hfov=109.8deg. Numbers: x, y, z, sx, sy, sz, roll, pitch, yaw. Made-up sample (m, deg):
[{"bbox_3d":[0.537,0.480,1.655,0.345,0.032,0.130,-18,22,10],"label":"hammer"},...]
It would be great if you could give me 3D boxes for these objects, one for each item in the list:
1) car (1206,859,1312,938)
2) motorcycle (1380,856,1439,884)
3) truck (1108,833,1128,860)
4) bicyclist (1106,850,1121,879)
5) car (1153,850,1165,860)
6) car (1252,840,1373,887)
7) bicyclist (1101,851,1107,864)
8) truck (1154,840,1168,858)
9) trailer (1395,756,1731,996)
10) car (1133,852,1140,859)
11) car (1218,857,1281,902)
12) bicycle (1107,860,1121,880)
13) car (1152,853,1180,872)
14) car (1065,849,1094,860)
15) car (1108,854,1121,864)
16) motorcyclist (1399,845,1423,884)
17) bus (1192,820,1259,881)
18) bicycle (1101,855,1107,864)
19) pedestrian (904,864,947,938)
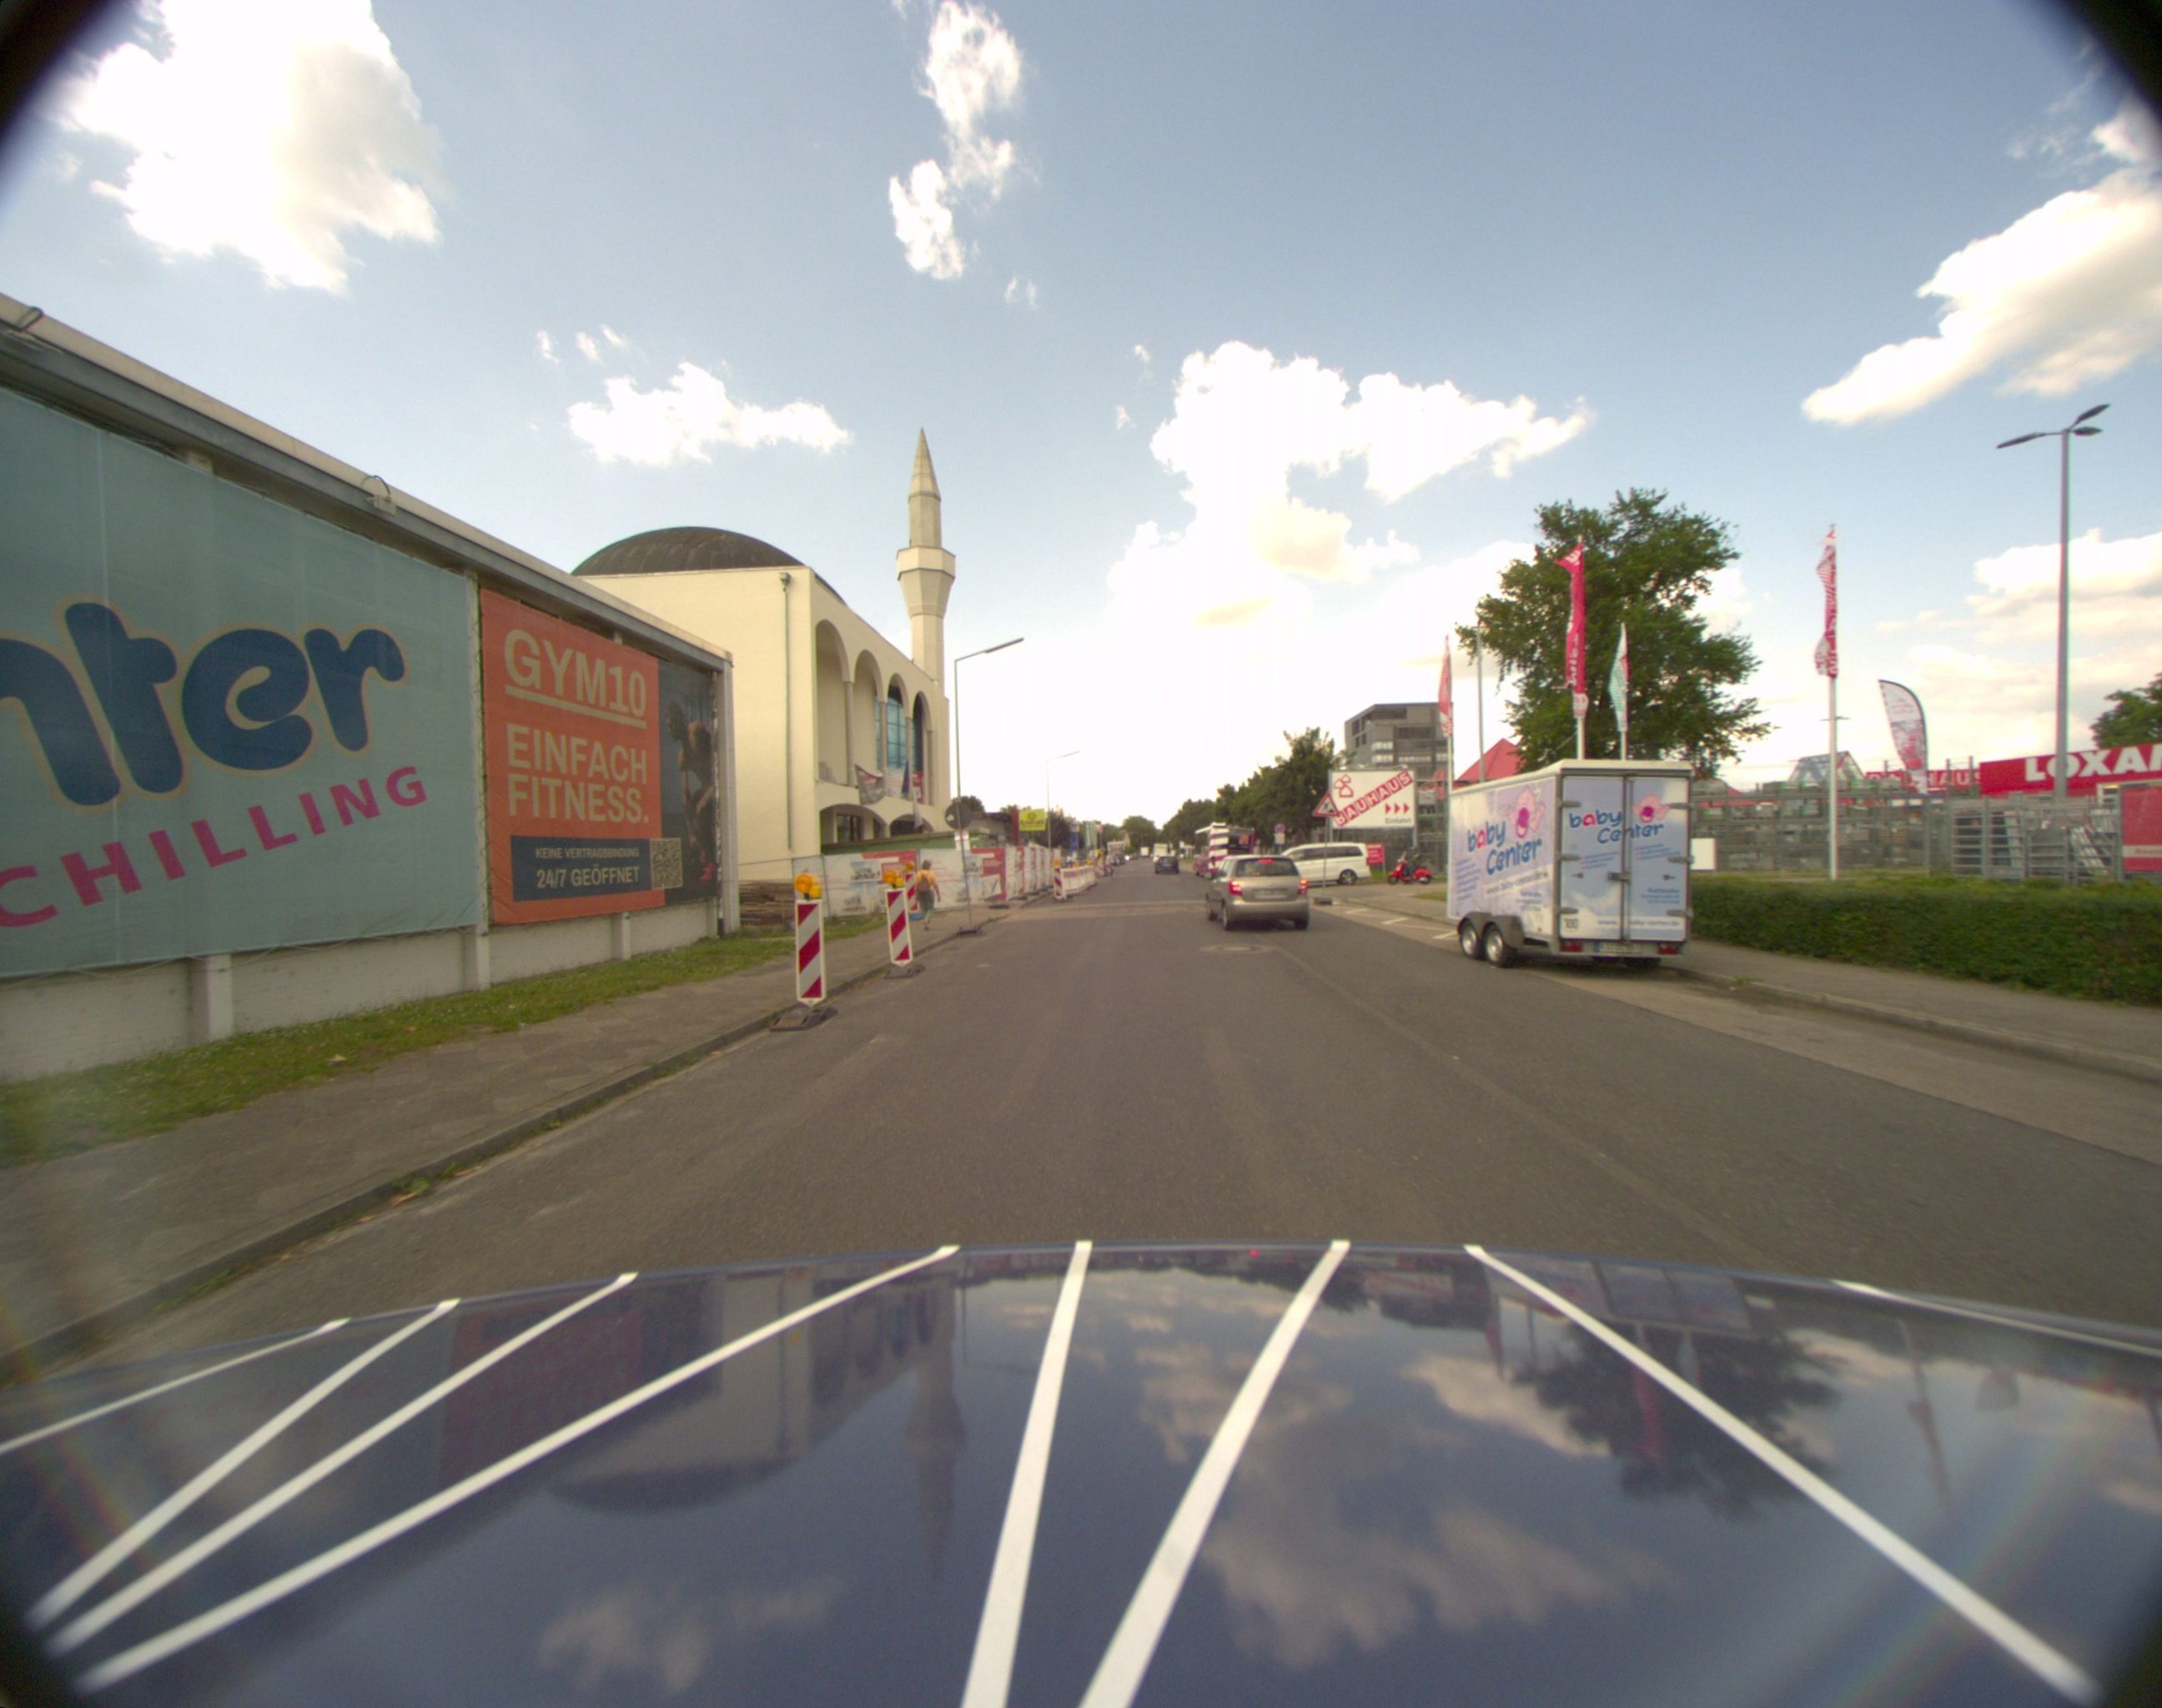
[{"bbox_3d":[3.653,0.851,16.181,1.594,1.456,3.762,0,0,4],"label":"car"},{"bbox_3d":[14.504,0.710,33.600,2.226,1.206,0.995,-1,1,5],"label":"motorcycle"},{"bbox_3d":[6.117,-1.223,123.743,2.784,4.092,8.281,-4,0,4],"label":"truck"},{"bbox_3d":[2.098,0.652,49.011,0.808,1.782,1.207,-3,1,3],"label":"bicyclist"},{"bbox_3d":[11.764,0.191,114.264,1.687,1.461,3.613,0,0,3],"label":"car"},{"bbox_3d":[10.389,0.423,34.437,5.009,1.938,1.993,-1,0,10],"label":"car"},{"bbox_3d":[3.411,0.475,113.343,0.796,1.899,0.829,2,1,6],"label":"bicyclist"},{"bbox_3d":[17.091,-1.085,162.306,2.754,3.701,7.172,0,1,3],"label":"truck"},{"bbox_3d":[6.574,0.236,11.209,2.144,2.767,4.704,1,0,4],"label":"trailer"},{"bbox_3d":[14.618,0.478,201.745,1.796,1.881,4.001,-1,0,3],"label":"car"},{"bbox_3d":[5.949,0.820,26.474,1.926,1.369,4.384,-1,0,15],"label":"car"},{"bbox_3d":[2.123,1.005,49.042,0.800,1.173,2.627,-3,0,3],"label":"bicycle"},{"bbox_3d":[6.637,0.642,59.520,1.800,1.450,4.385,0,0,2],"label":"car"},{"bbox_3d":[-0.159,0.042,104.241,3.962,1.402,1.797,0,0,1],"label":"car"},{"bbox_3d":[4.843,0.689,109.976,1.665,1.332,3.986,-5,0,3],"label":"car"},{"bbox_3d":[14.586,0.458,33.597,0.675,1.713,0.995,-1,1,5],"label":"motorcyclist"},{"bbox_3d":[9.289,-0.255,50.413,2.669,3.403,13.221,2,1,4],"label":"bus"},{"bbox_3d":[3.420,0.793,113.295,0.793,1.287,1.883,2,1,6],"label":"bicycle"},{"bbox_3d":[-3.400,1.006,16.742,0.683,1.525,1.130,-2,1,-1],"label":"pedestrian"}]
